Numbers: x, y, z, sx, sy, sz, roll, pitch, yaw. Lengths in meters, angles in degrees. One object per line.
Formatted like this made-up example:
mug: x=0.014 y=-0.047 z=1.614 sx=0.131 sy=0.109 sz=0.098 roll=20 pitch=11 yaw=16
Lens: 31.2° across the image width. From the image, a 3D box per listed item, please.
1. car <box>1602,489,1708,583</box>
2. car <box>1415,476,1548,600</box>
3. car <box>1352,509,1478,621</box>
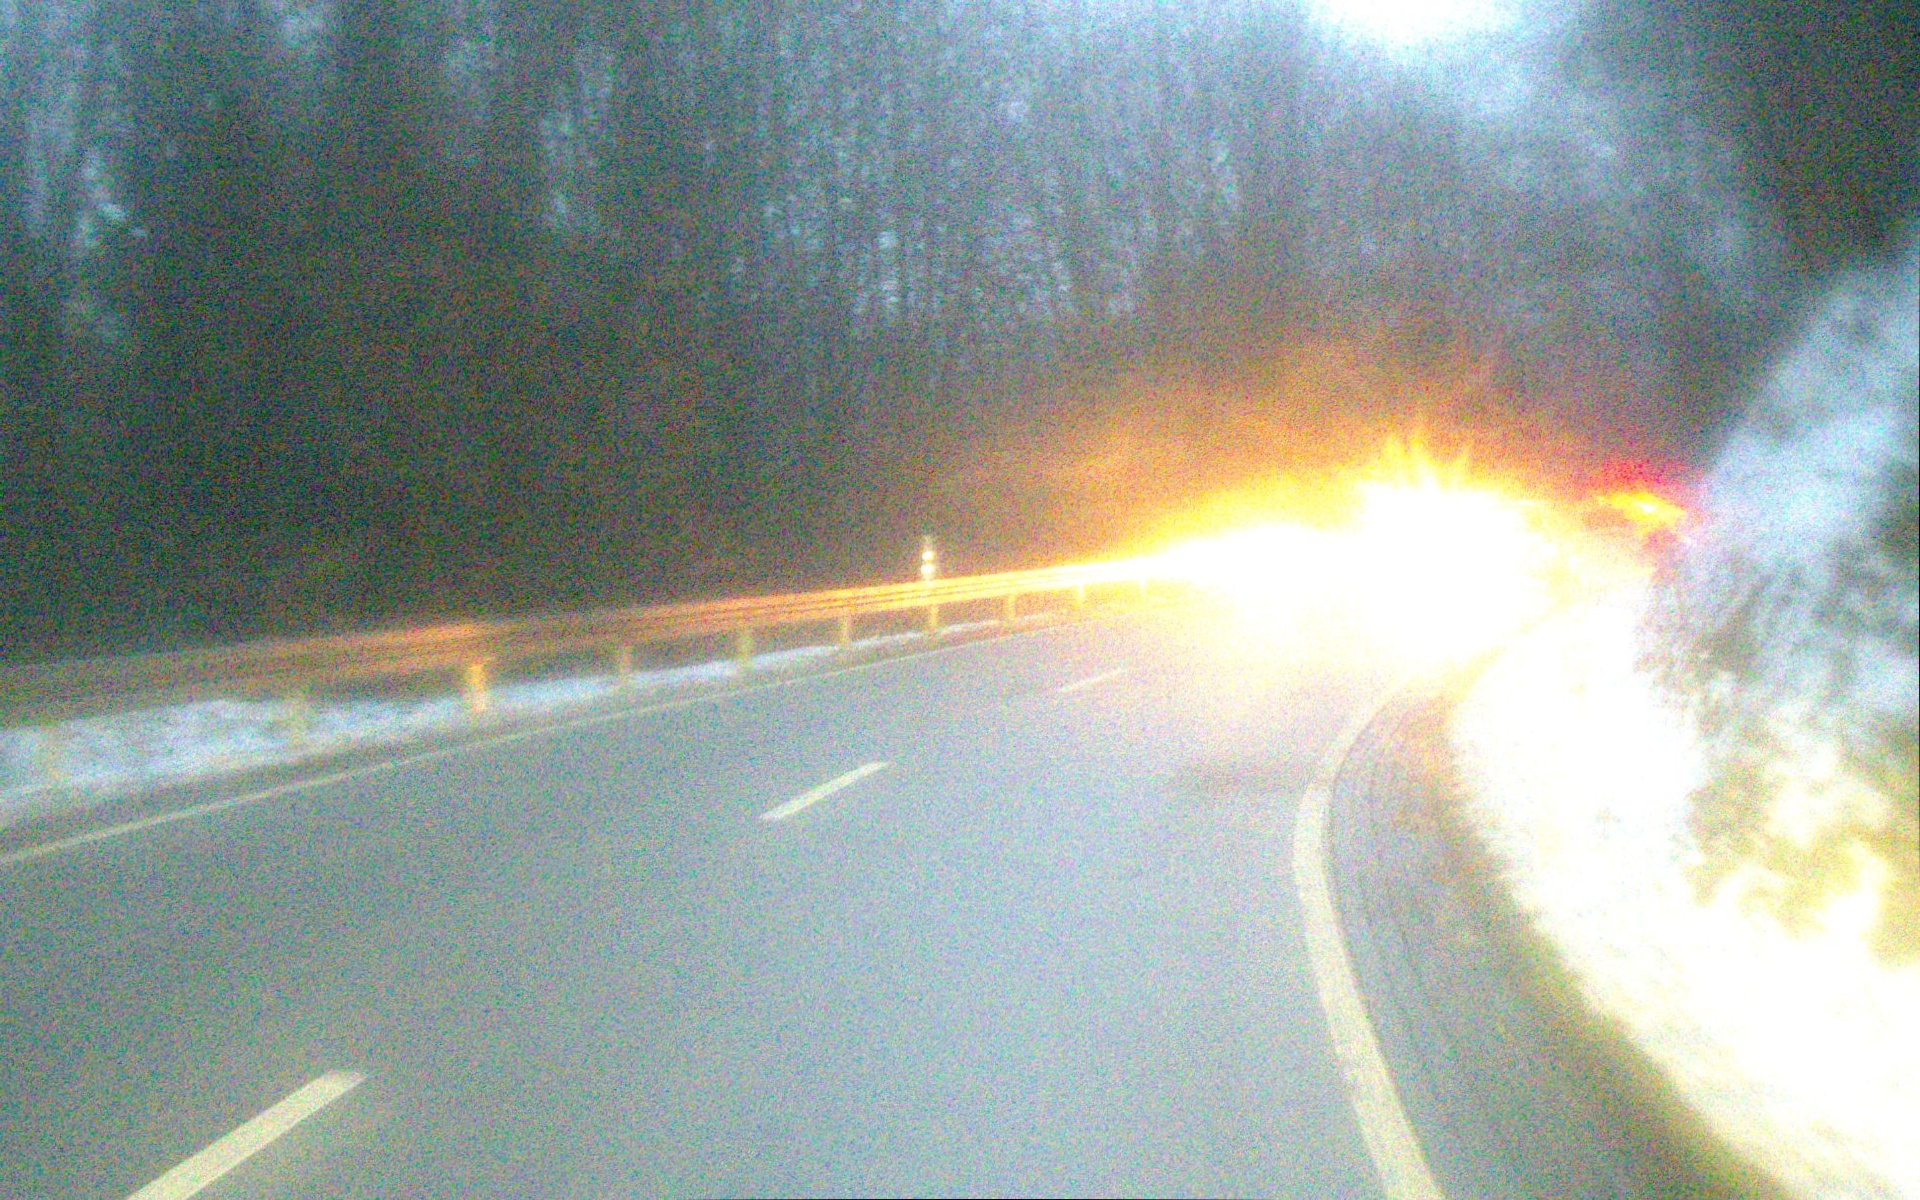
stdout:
car: x=15.760 y=-1.435 z=77.833 sx=1.869 sy=1.912 sz=3.996 roll=2 pitch=-1 yaw=17
car: x=8.227 y=-0.940 z=54.175 sx=1.994 sy=1.866 sz=3.998 roll=0 pitch=0 yaw=9
car: x=9.624 y=-0.707 z=72.479 sx=2.060 sy=2.144 sz=3.996 roll=1 pitch=-2 yaw=16
